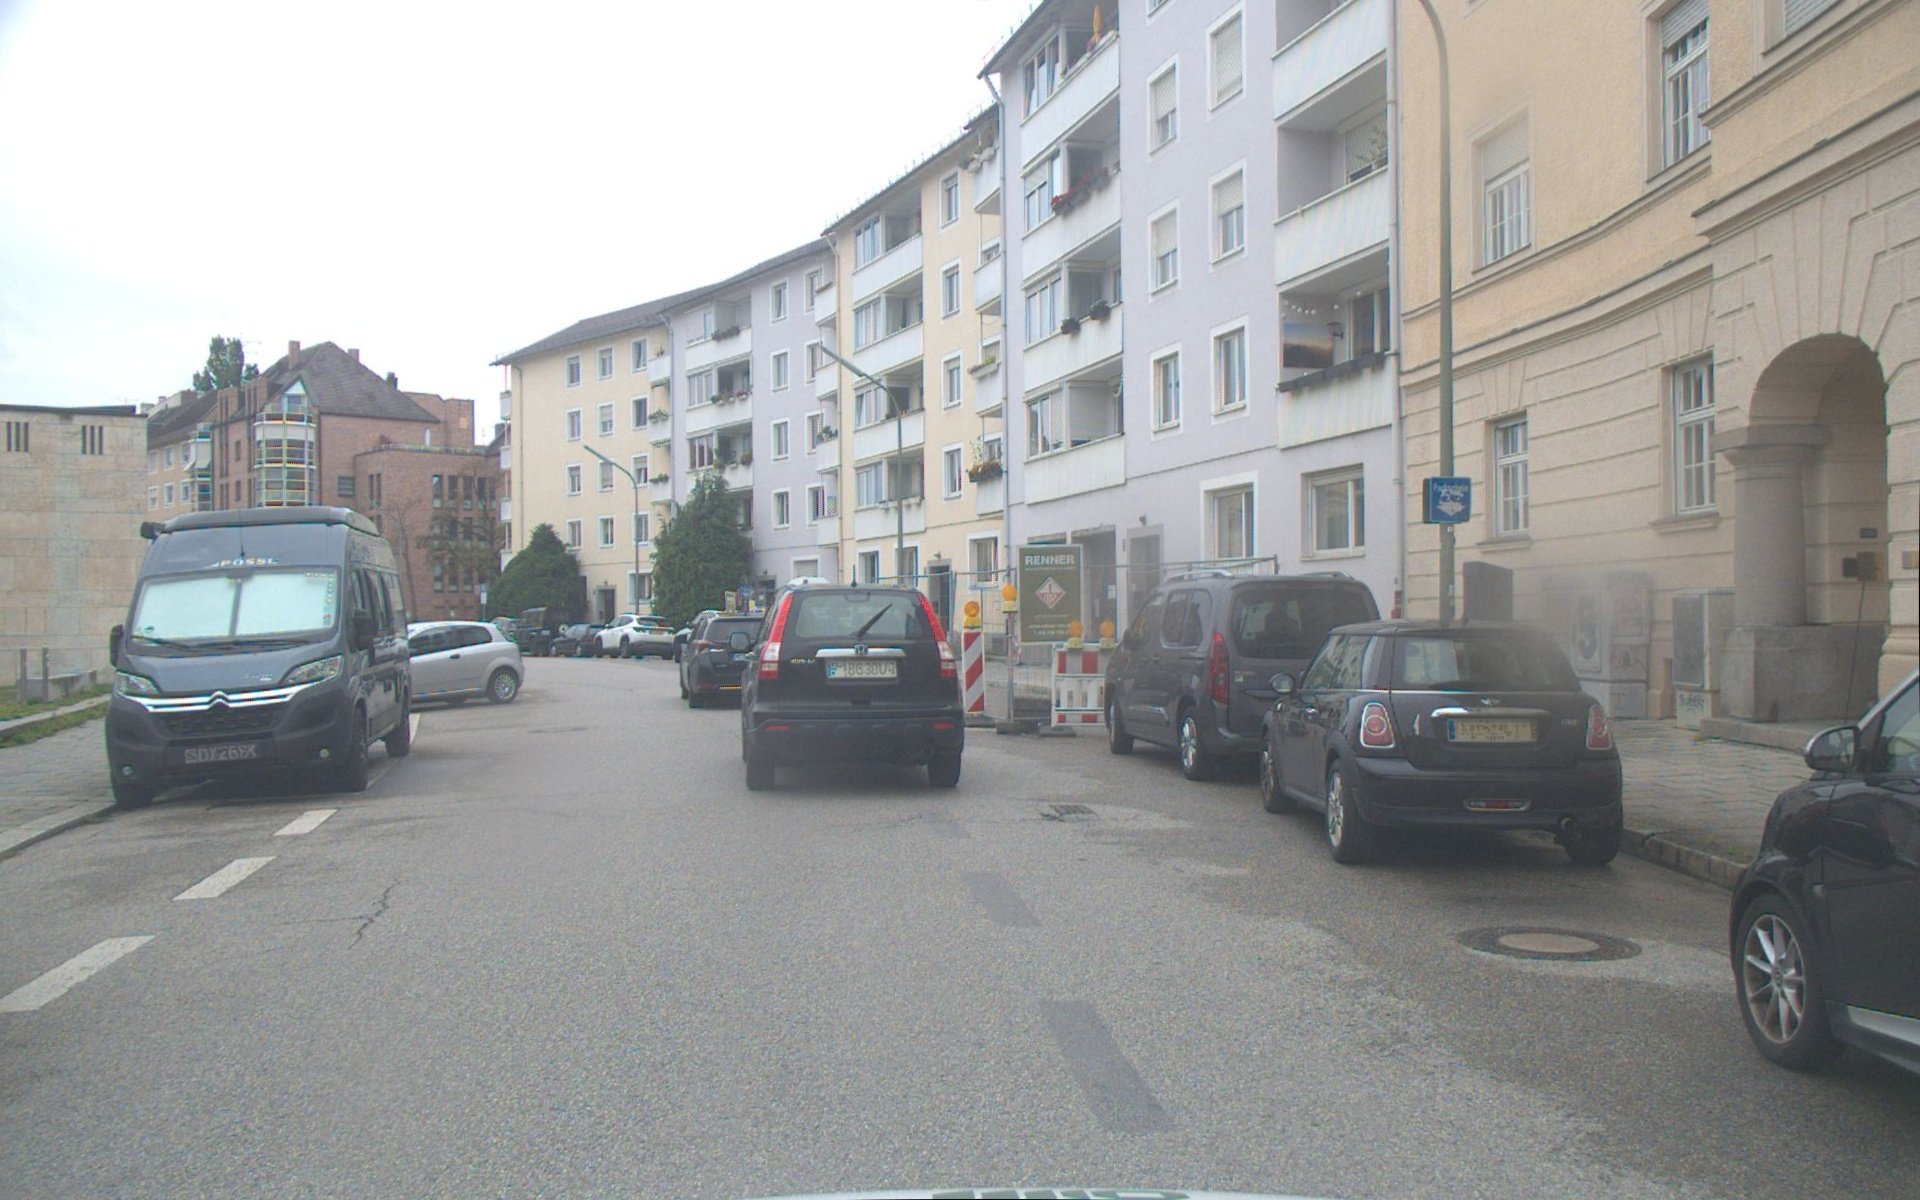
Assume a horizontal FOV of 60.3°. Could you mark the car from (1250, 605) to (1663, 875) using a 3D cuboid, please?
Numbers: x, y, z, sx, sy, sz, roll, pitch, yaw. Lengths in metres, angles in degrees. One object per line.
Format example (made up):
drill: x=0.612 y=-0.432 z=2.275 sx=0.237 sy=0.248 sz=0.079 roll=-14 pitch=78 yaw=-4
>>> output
car: x=3.100 y=0.795 z=11.122 sx=1.673 sy=1.473 sz=3.830 roll=1 pitch=-1 yaw=1

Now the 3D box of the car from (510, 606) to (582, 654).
car: x=-17.338 y=1.223 z=69.213 sx=1.709 sy=1.911 sz=3.953 roll=1 pitch=0 yaw=-34

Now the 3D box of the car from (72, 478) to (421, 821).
car: x=-6.690 y=0.386 z=16.292 sx=2.128 sy=2.688 sz=5.995 roll=-2 pitch=0 yaw=-14

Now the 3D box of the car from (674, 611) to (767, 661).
car: x=-7.642 y=1.120 z=52.549 sx=1.704 sy=1.509 sz=3.963 roll=0 pitch=0 yaw=-28

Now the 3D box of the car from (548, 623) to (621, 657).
car: x=-14.862 y=1.570 z=65.428 sx=1.682 sy=1.258 sz=3.559 roll=0 pitch=0 yaw=-34

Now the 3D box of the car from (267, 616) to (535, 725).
car: x=-9.556 y=1.182 z=28.504 sx=1.652 sy=1.507 sz=4.068 roll=-5 pitch=-1 yaw=39

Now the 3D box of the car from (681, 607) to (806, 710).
car: x=-3.545 y=0.883 z=26.550 sx=1.650 sy=1.507 sz=4.073 roll=0 pitch=-1 yaw=-12

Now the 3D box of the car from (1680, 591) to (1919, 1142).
car: x=3.459 y=0.760 z=4.719 sx=1.503 sy=1.550 sz=3.111 roll=1 pitch=-1 yaw=1

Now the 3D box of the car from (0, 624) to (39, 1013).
car: x=-4.500 y=0.886 z=5.272 sx=1.638 sy=1.528 sz=2.974 roll=-2 pitch=0 yaw=-6

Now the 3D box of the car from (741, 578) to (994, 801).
car: x=-0.956 y=0.691 z=14.595 sx=1.856 sy=1.676 sz=3.983 roll=0 pitch=-1 yaw=-9

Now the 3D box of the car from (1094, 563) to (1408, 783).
car: x=2.643 y=0.639 z=16.071 sx=1.744 sy=1.838 sz=4.267 roll=1 pitch=-1 yaw=-8

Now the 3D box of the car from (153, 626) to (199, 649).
car: x=-53.903 y=2.552 z=113.693 sx=1.798 sy=1.498 sz=4.053 roll=0 pitch=0 yaw=-43

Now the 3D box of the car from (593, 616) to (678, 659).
car: x=-12.040 y=1.370 z=61.218 sx=1.709 sy=1.509 sz=3.953 roll=0 pitch=0 yaw=-34
